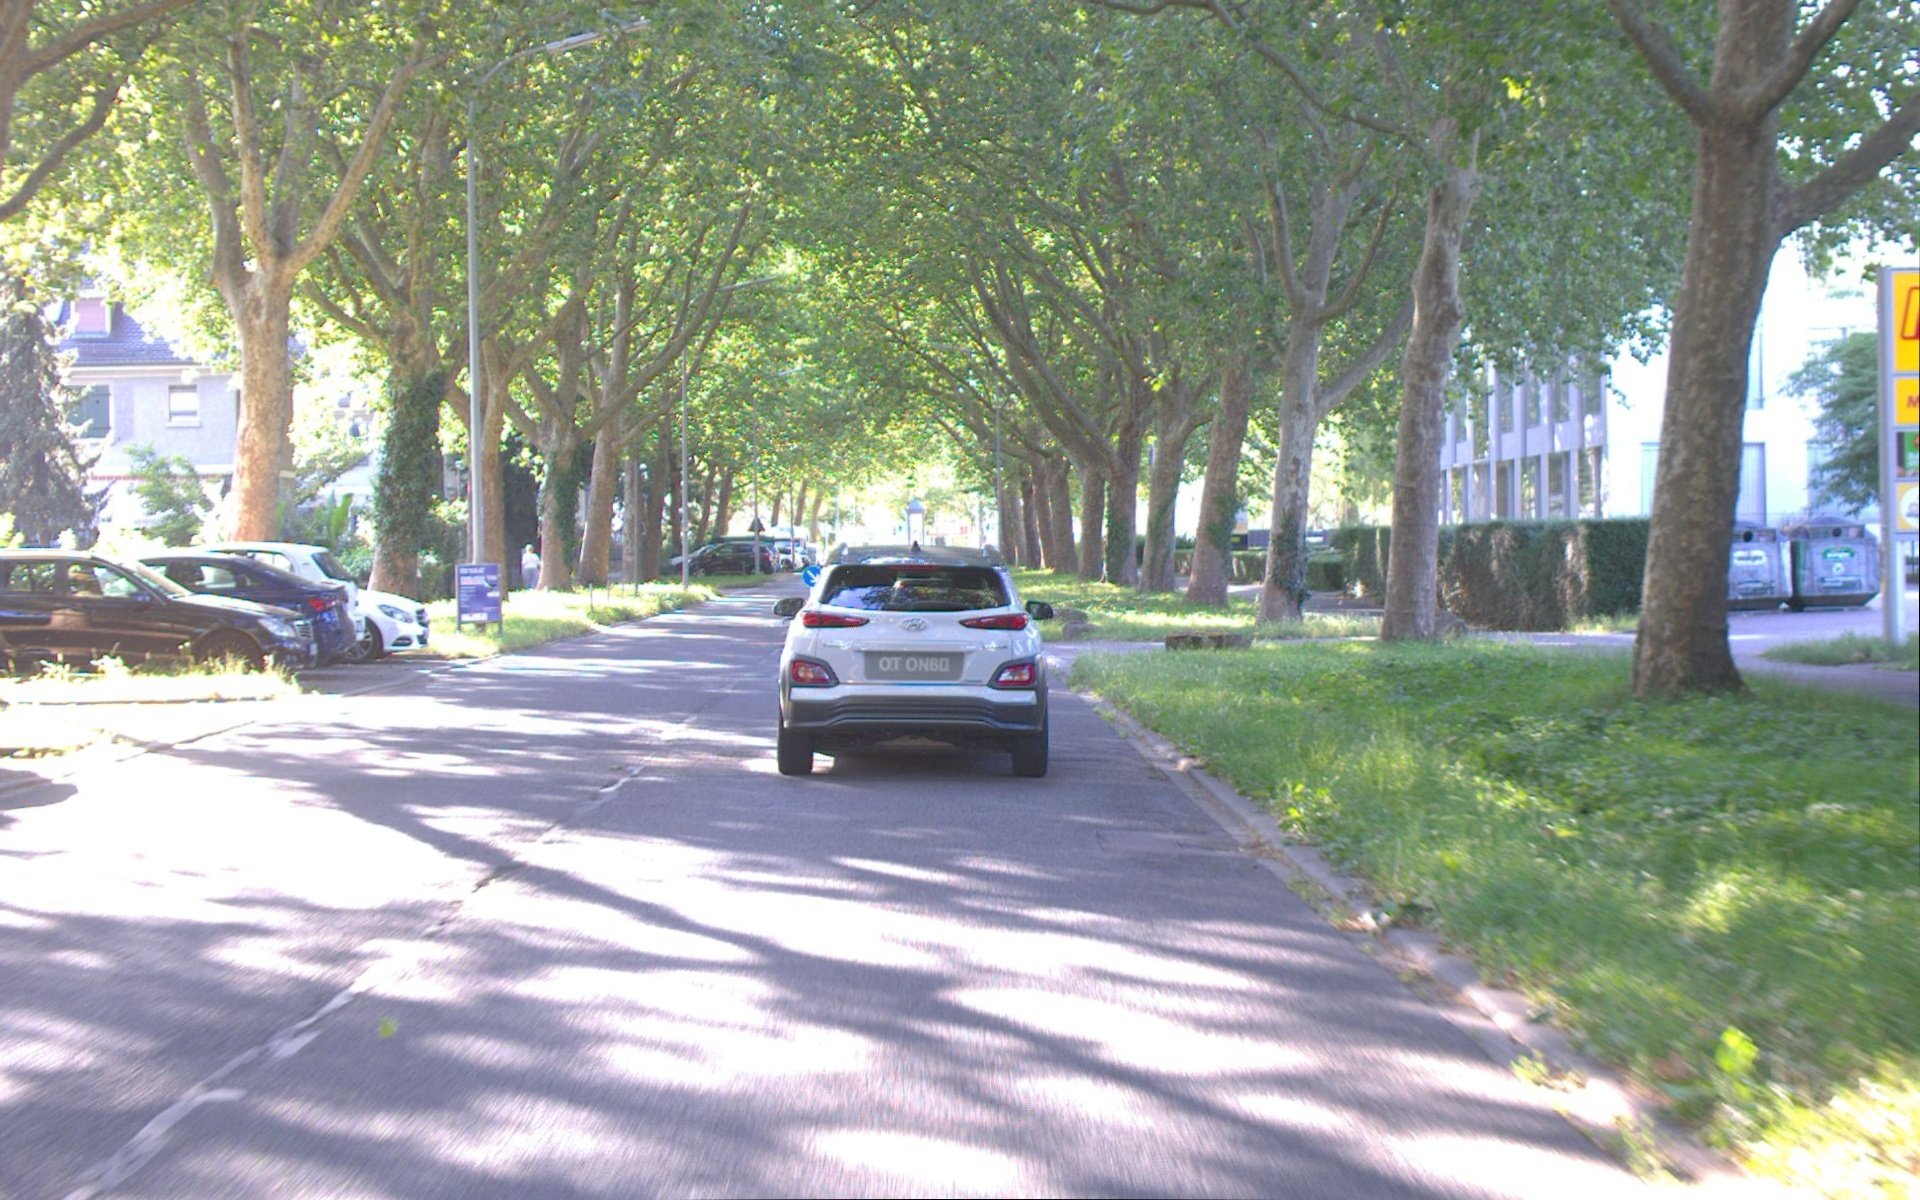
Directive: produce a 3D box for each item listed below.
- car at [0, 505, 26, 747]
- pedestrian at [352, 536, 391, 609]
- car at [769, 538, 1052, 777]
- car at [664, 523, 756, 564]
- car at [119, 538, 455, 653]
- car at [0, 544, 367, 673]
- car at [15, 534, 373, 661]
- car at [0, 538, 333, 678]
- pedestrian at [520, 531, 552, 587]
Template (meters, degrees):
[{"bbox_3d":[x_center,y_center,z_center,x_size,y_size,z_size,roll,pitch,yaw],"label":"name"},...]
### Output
[{"bbox_3d":[-8.755,0.195,23.575,4.243,1.674,1.671,0,1,-1],"label":"car"},{"bbox_3d":[-13.899,-0.663,81.242,0.749,1.701,0.793,1,1,-1],"label":"pedestrian"},{"bbox_3d":[-0.357,0.353,24.337,1.835,1.550,4.000,0,1,-1],"label":"car"},{"bbox_3d":[-11.016,-2.463,151.316,3.986,1.766,2.000,0,0,-5],"label":"car"},{"bbox_3d":[-8.705,-0.074,44.684,3.987,1.465,1.809,0,1,1],"label":"car"},{"bbox_3d":[-8.880,0.079,39.342,3.986,1.419,1.809,0,1,-5],"label":"car"},{"bbox_3d":[-9.297,-0.046,41.952,3.986,1.515,1.809,0,1,-2],"label":"car"},{"bbox_3d":[-8.866,0.068,36.882,3.986,1.465,1.781,0,1,-2],"label":"car"},{"bbox_3d":[-12.807,-1.241,103.845,0.749,1.701,0.793,0,0,-25],"label":"pedestrian"}]
